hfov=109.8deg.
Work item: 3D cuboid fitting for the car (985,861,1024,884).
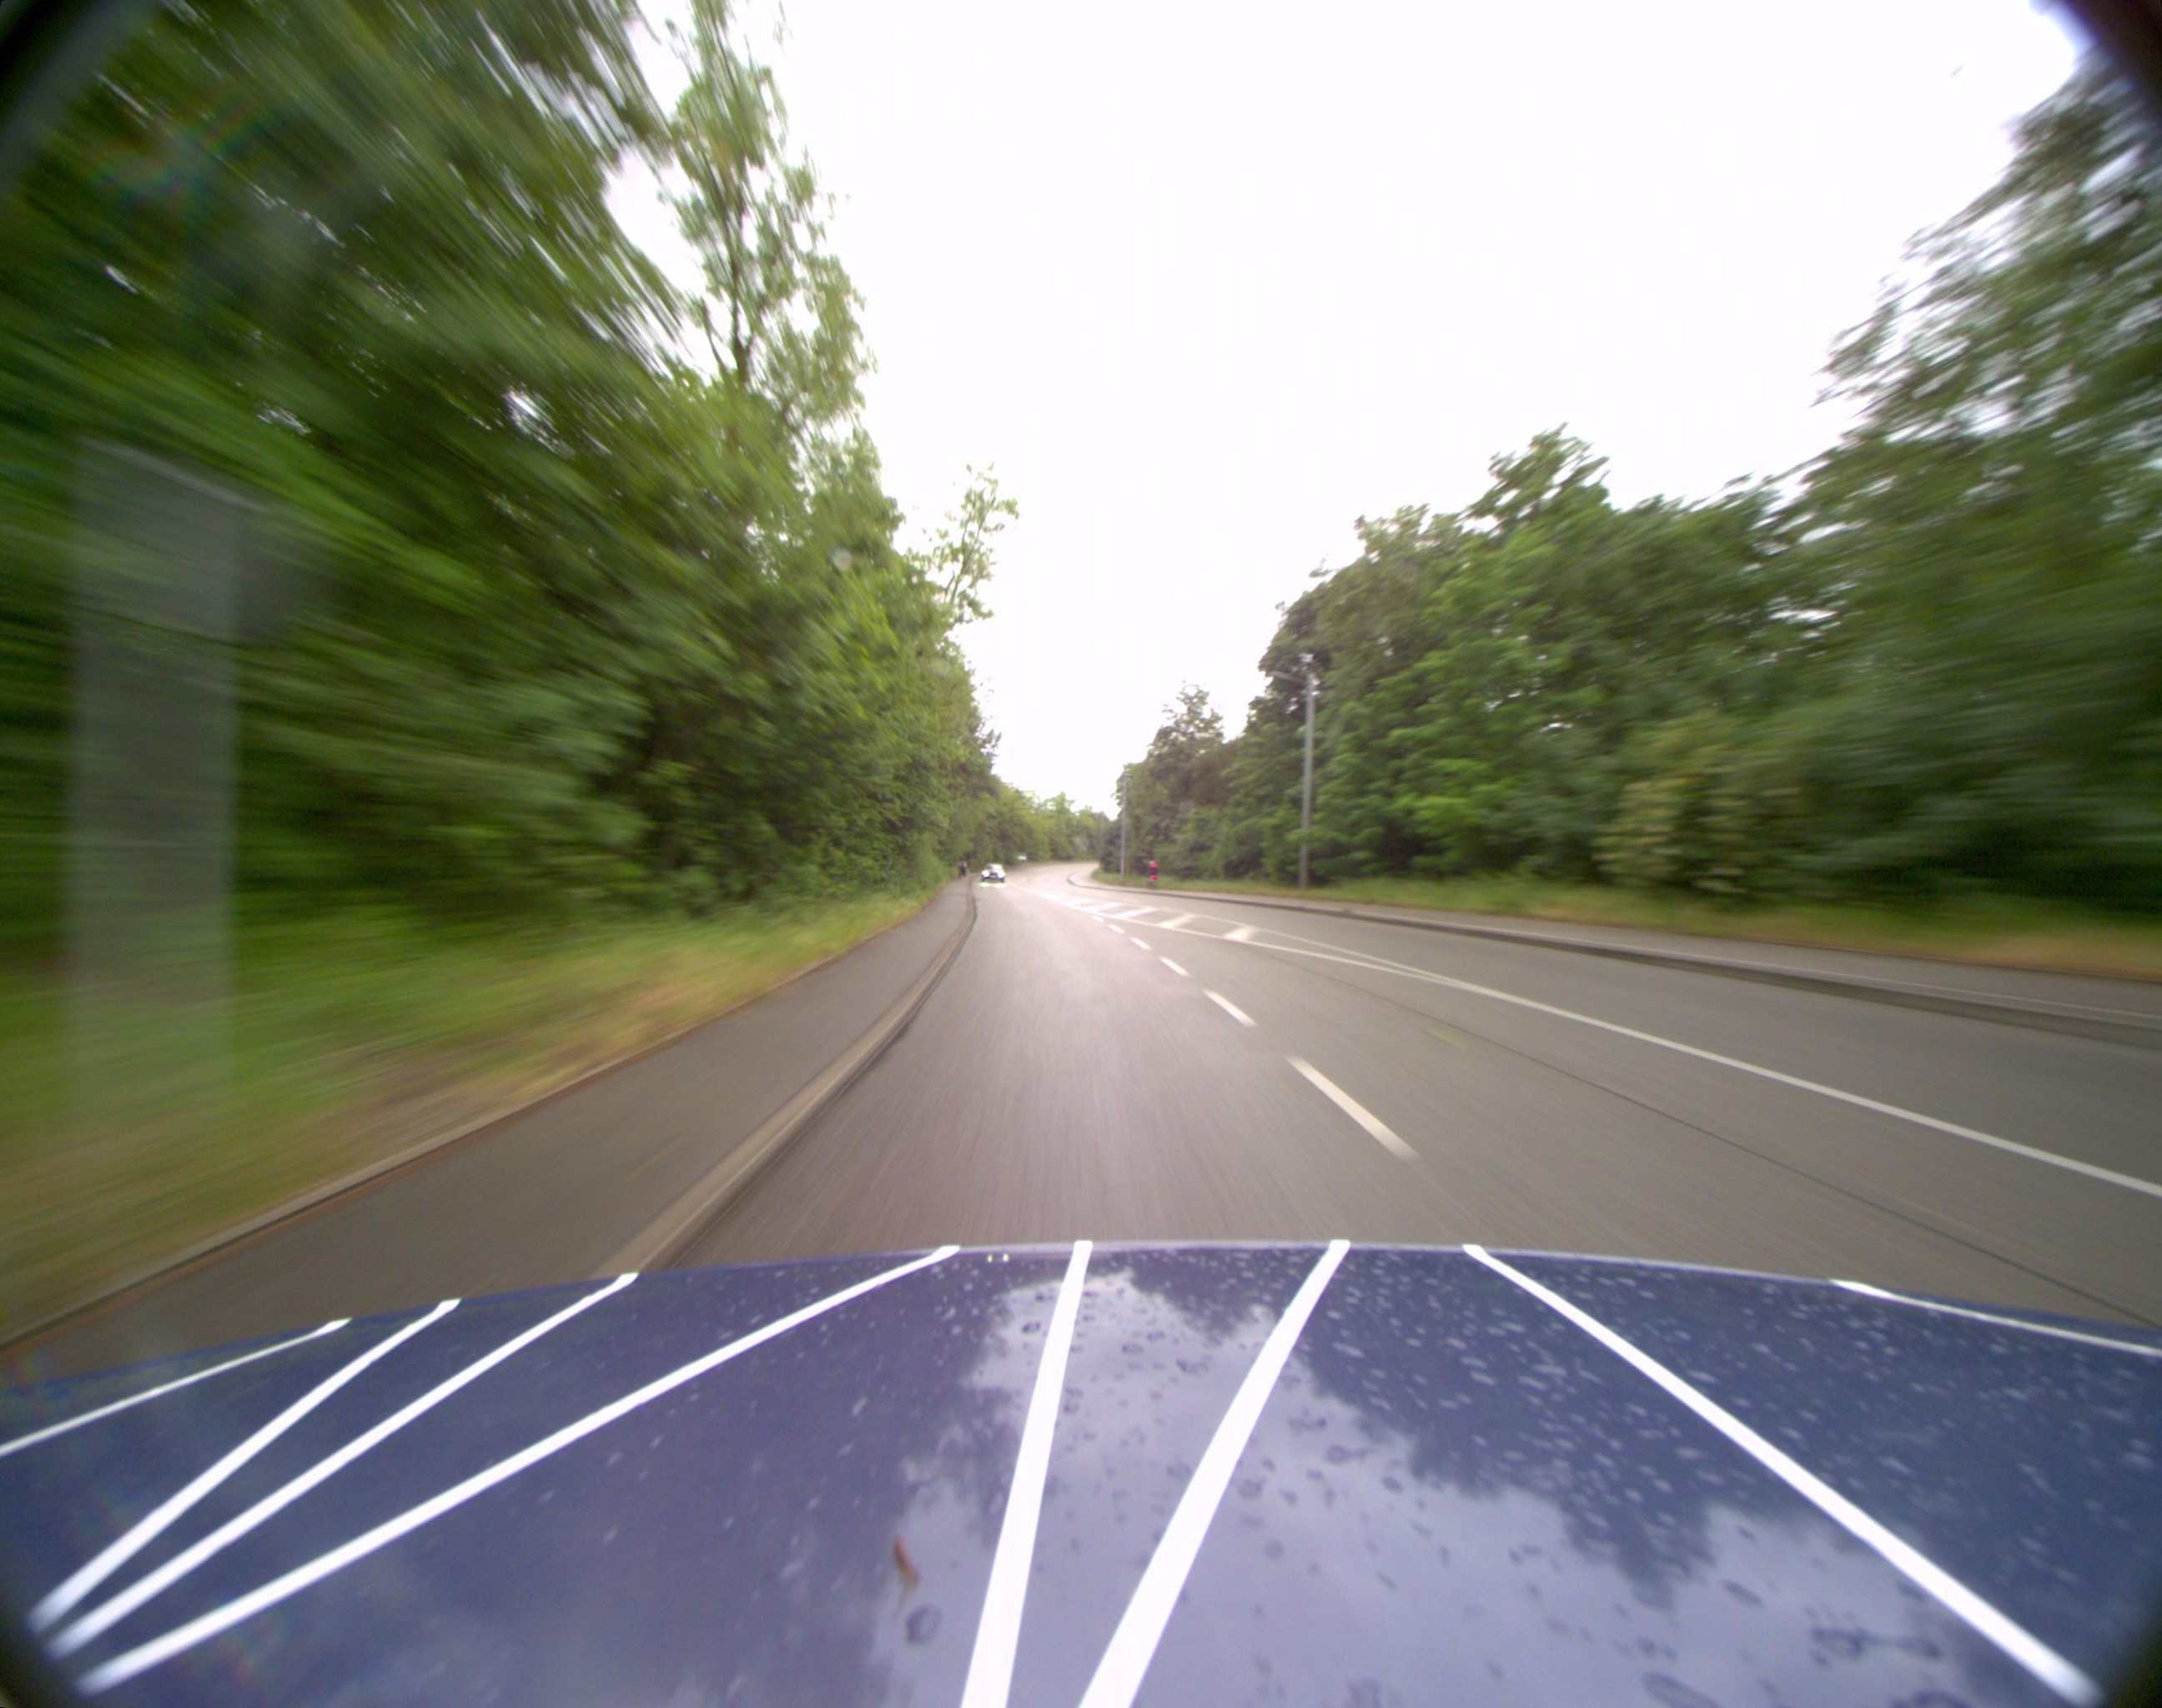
[{"bbox_3d":[-6.059,1.489,60.460,1.830,1.511,4.005,8,-1,10],"label":"car"}]

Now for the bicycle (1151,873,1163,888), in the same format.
[{"bbox_3d":[4.499,1.586,45.063,0.357,0.844,2.092,0,-1,-5],"label":"bicycle"}]

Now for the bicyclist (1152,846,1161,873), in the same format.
[{"bbox_3d":[4.481,0.348,45.094,0.337,1.565,1.297,0,0,-5],"label":"bicyclist"}]

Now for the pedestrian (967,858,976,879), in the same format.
[{"bbox_3d":[-8.450,1.104,58.631,0.566,1.568,0.769,4,3,-5],"label":"pedestrian"}]
